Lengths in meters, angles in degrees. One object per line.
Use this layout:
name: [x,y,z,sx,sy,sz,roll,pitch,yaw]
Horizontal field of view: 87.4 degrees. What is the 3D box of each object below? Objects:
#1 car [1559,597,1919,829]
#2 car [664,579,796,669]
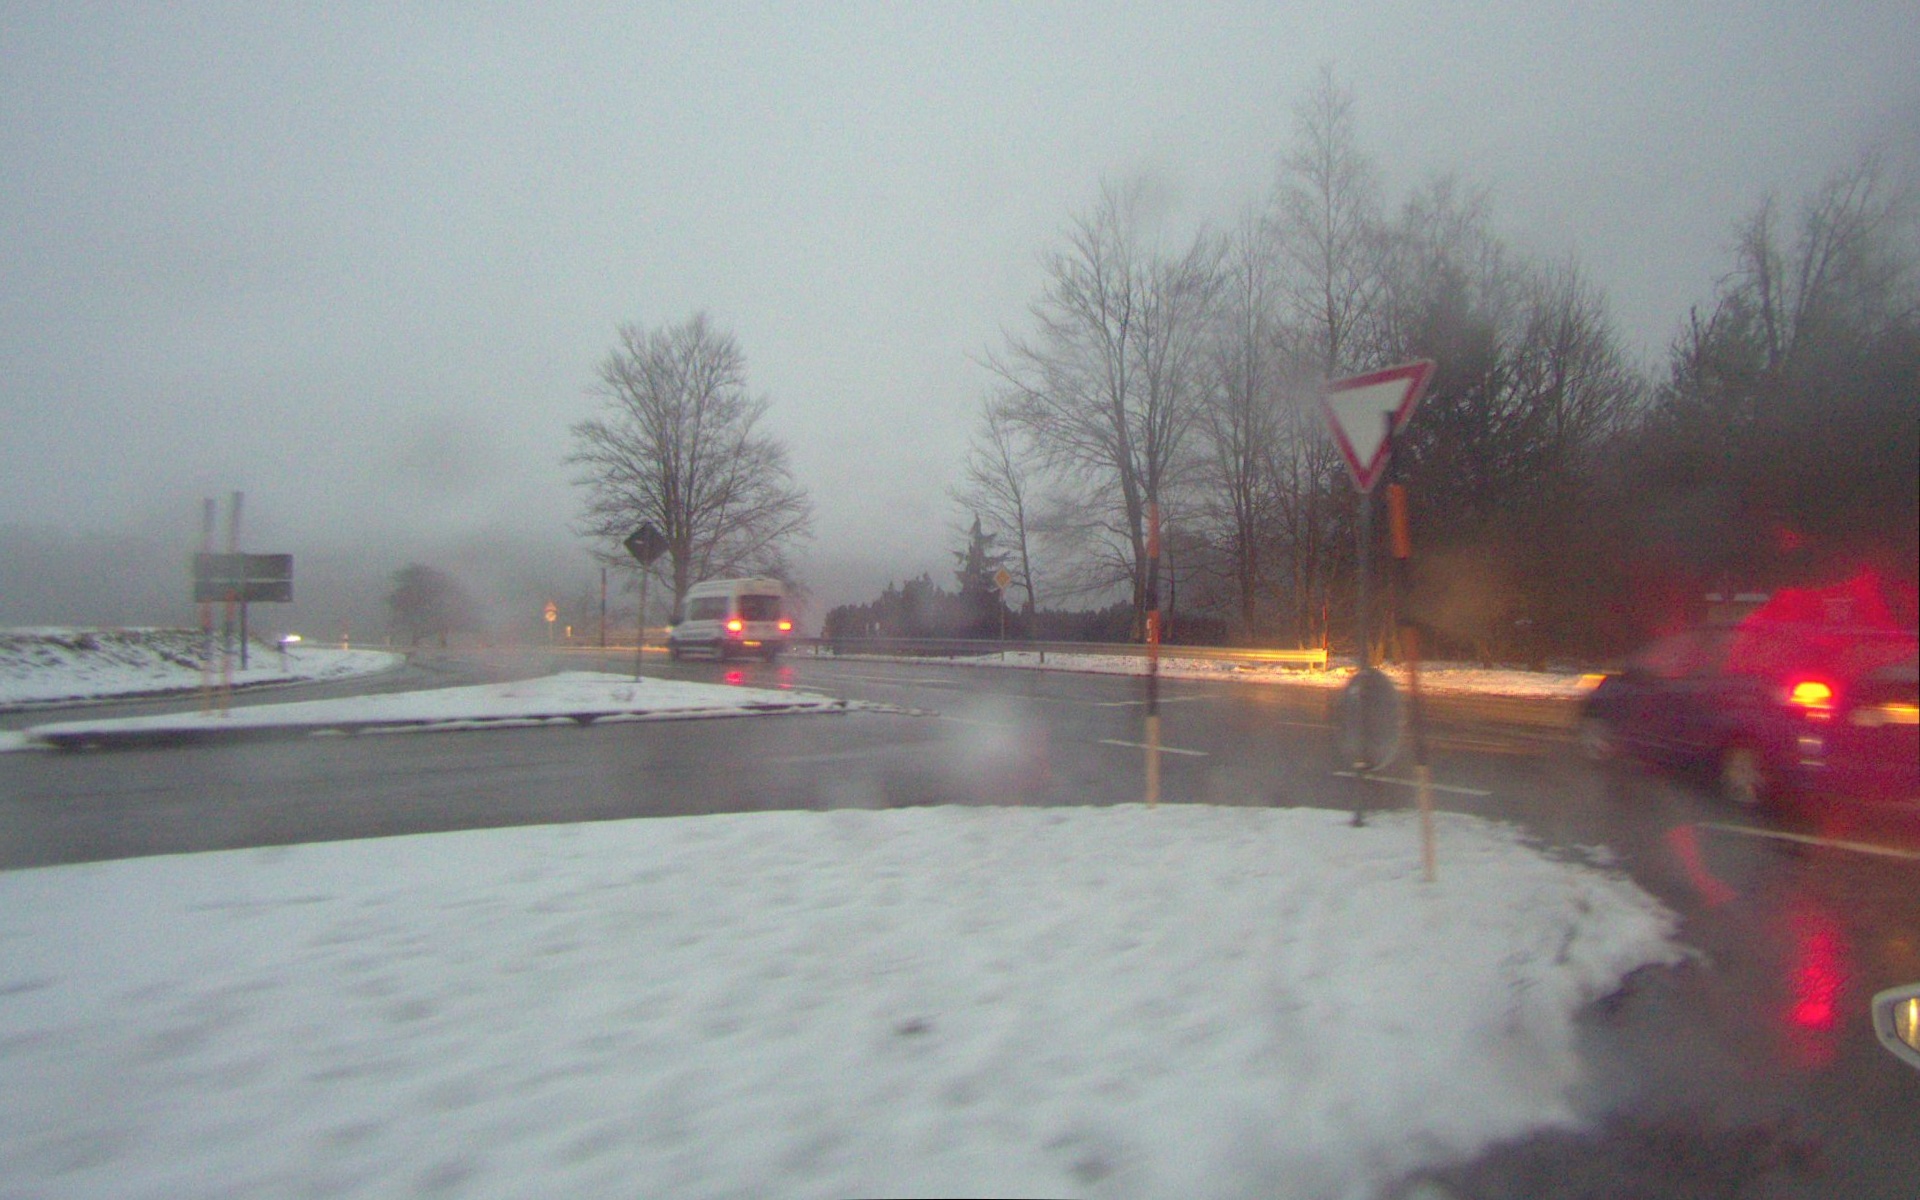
car: [6.964,0.799,8.823,1.663,1.573,3.858,2,0,11]
car: [-7.882,0.748,34.035,2.134,2.731,5.468,3,0,-38]
